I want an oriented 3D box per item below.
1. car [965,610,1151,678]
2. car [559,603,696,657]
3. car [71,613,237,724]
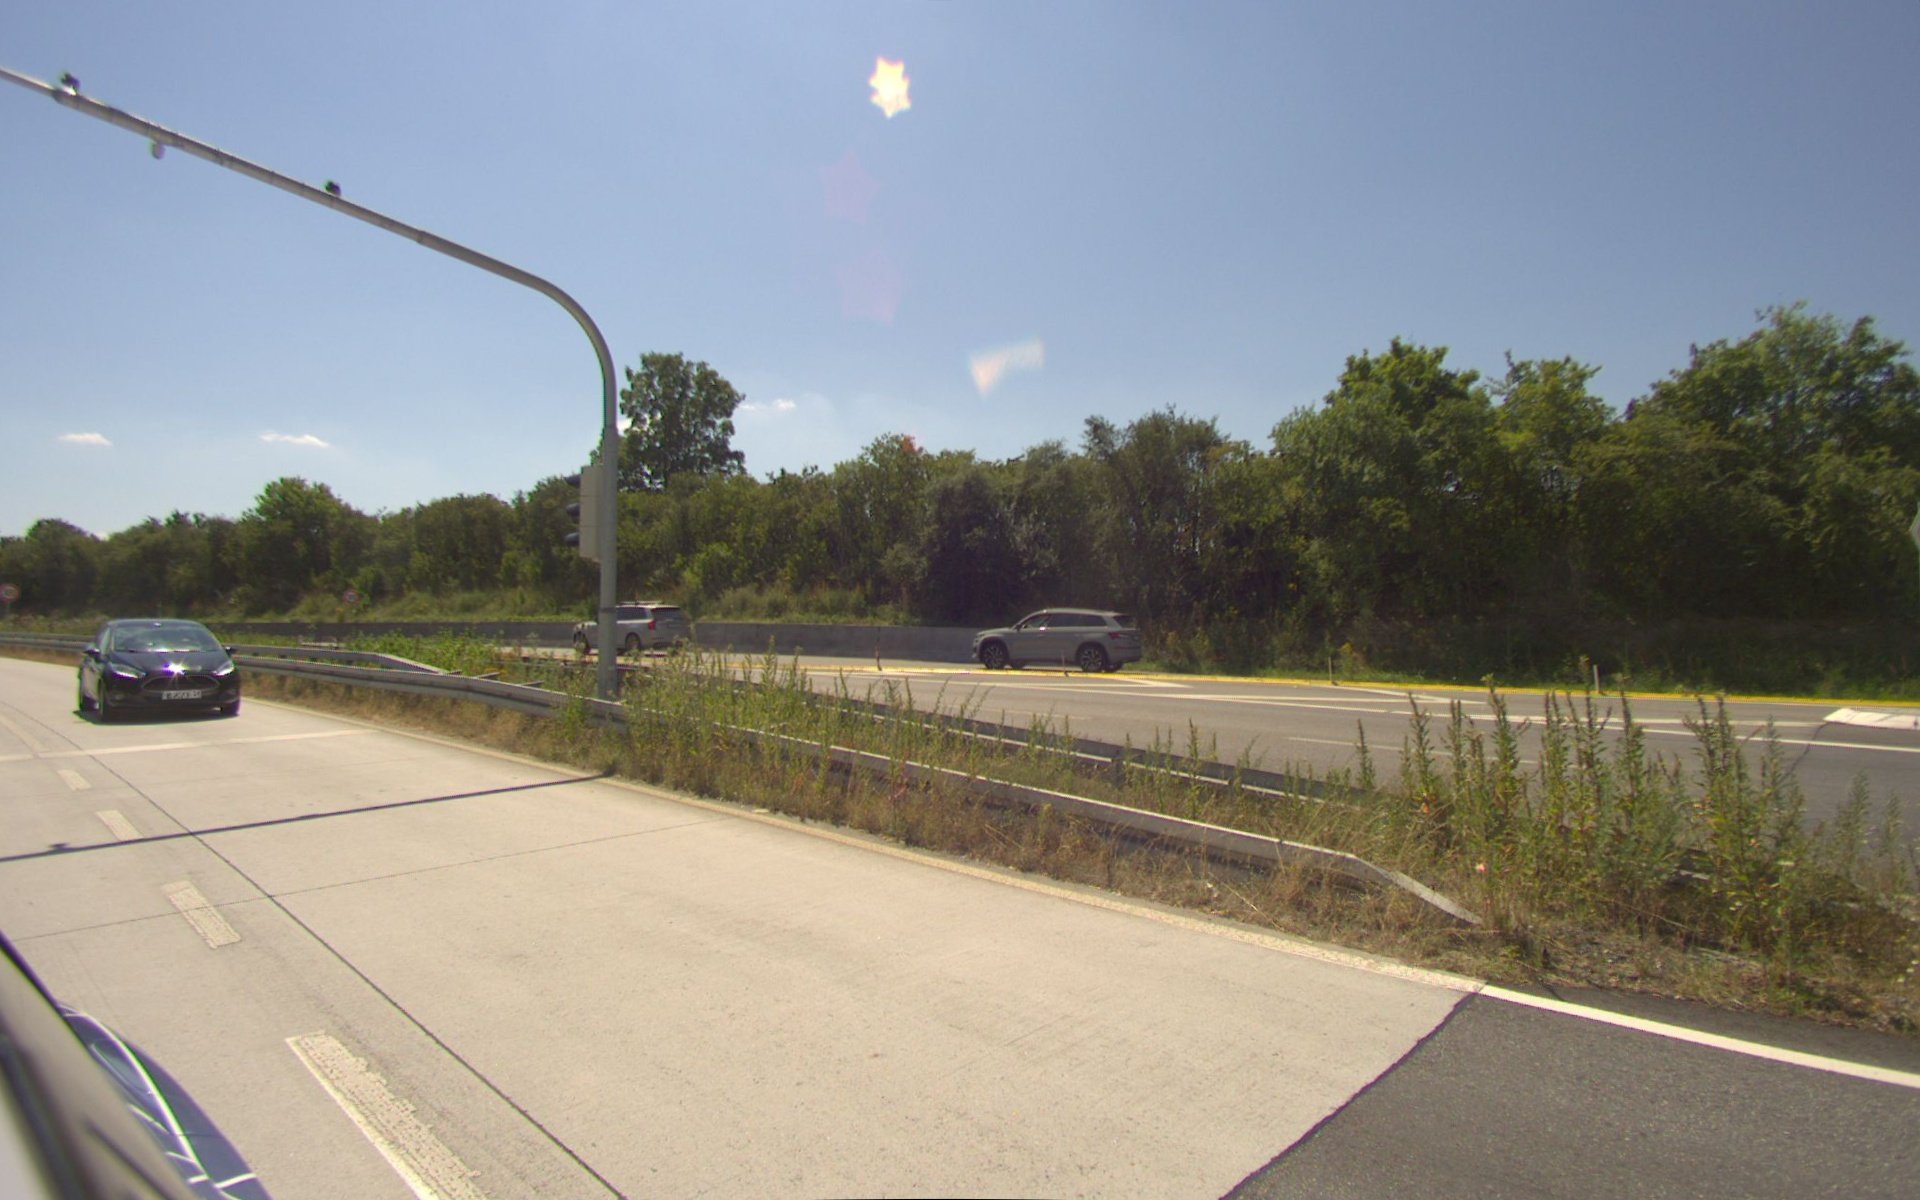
[{"bbox_3d":[2.630,1.125,27.280,4.630,1.705,1.983,0,-1,25],"label":"car"},{"bbox_3d":[-11.626,1.005,35.250,4.844,1.786,1.977,0,-1,34],"label":"car"},{"bbox_3d":[-12.779,0.973,15.953,4.002,1.496,1.604,0,-1,45],"label":"car"}]
